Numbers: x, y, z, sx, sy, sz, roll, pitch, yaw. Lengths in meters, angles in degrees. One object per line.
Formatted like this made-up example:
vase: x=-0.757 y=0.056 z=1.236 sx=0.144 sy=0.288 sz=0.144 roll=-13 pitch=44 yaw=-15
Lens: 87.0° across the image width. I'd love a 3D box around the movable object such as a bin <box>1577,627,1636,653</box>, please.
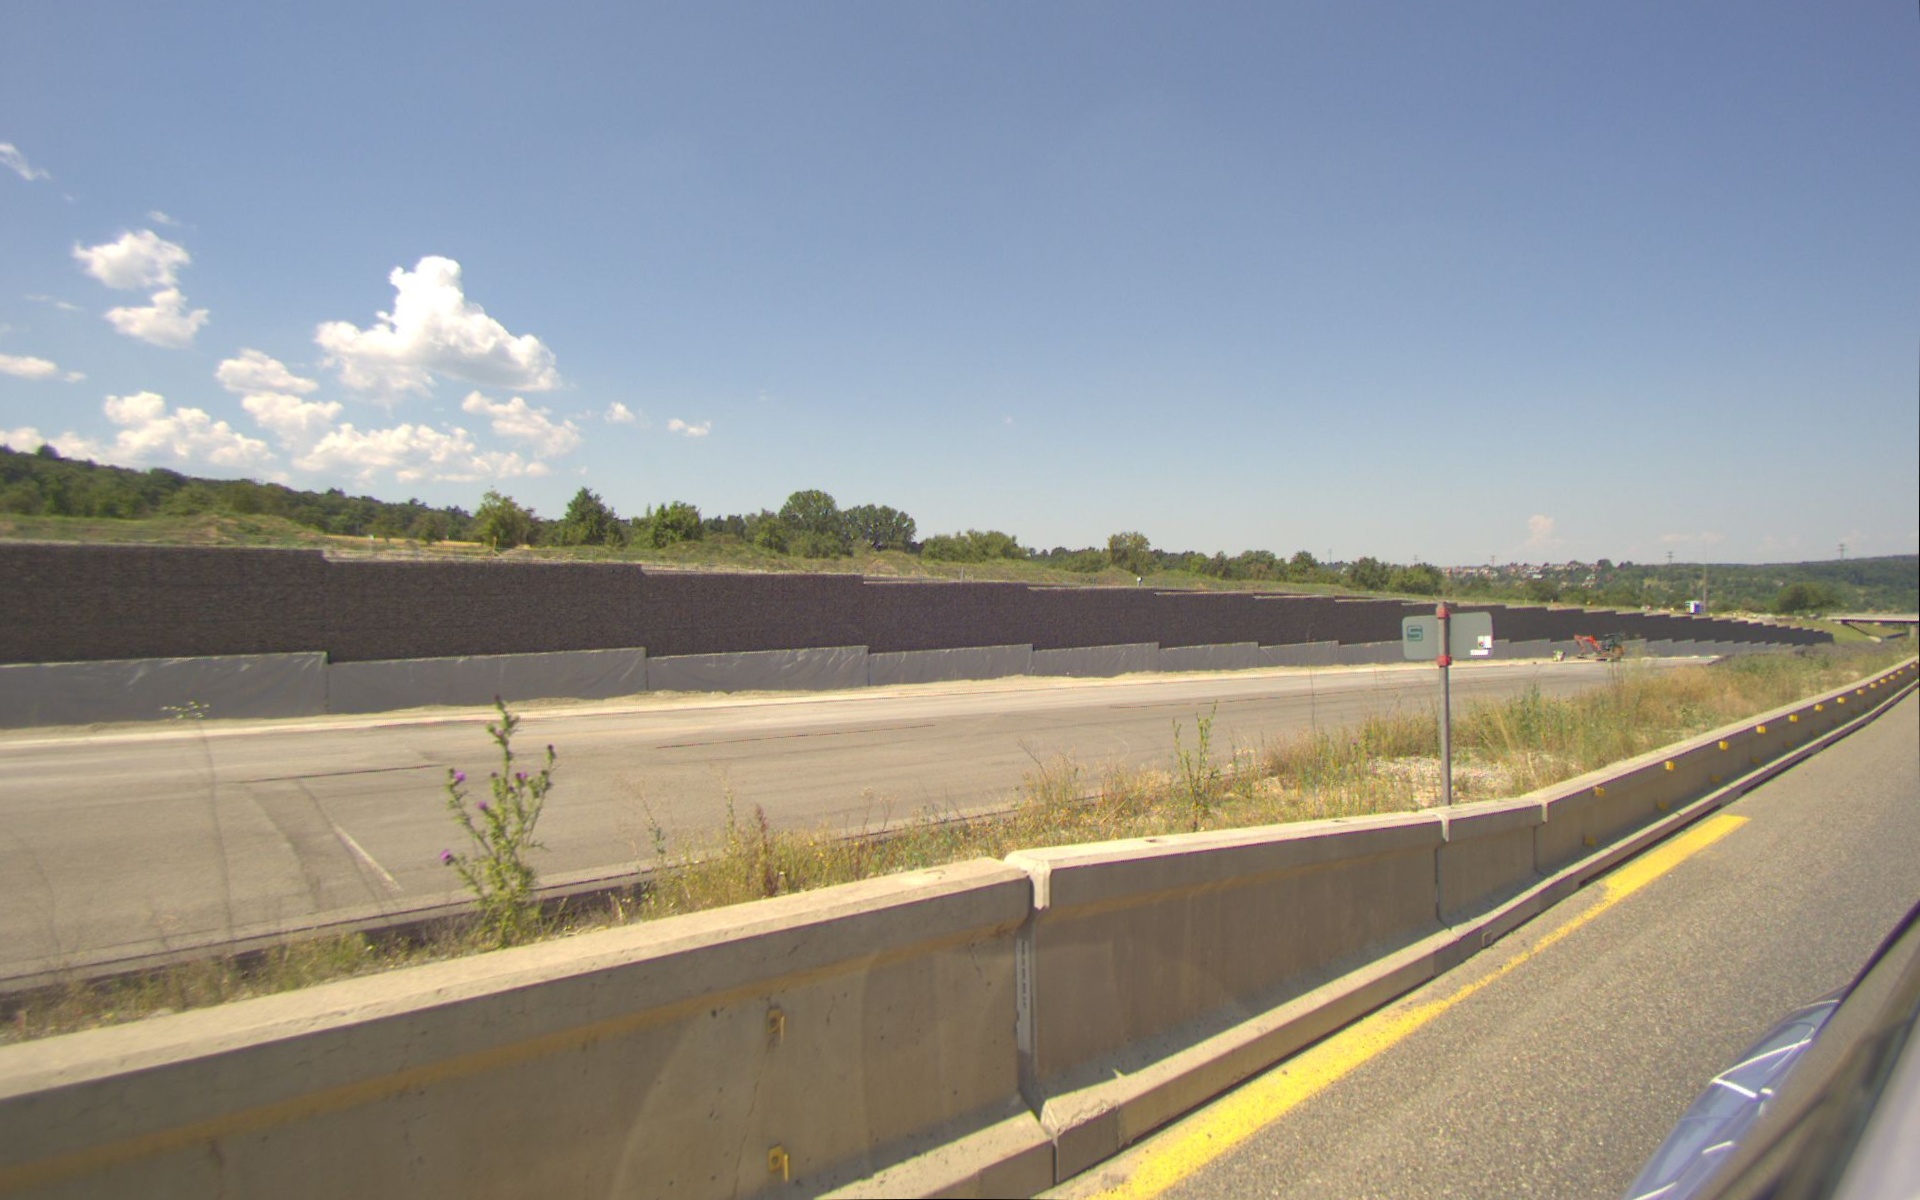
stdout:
movable object such as a bin: x=56.611 y=3.480 z=88.720 sx=4.084 sy=2.175 sz=1.750 roll=0 pitch=0 yaw=22
